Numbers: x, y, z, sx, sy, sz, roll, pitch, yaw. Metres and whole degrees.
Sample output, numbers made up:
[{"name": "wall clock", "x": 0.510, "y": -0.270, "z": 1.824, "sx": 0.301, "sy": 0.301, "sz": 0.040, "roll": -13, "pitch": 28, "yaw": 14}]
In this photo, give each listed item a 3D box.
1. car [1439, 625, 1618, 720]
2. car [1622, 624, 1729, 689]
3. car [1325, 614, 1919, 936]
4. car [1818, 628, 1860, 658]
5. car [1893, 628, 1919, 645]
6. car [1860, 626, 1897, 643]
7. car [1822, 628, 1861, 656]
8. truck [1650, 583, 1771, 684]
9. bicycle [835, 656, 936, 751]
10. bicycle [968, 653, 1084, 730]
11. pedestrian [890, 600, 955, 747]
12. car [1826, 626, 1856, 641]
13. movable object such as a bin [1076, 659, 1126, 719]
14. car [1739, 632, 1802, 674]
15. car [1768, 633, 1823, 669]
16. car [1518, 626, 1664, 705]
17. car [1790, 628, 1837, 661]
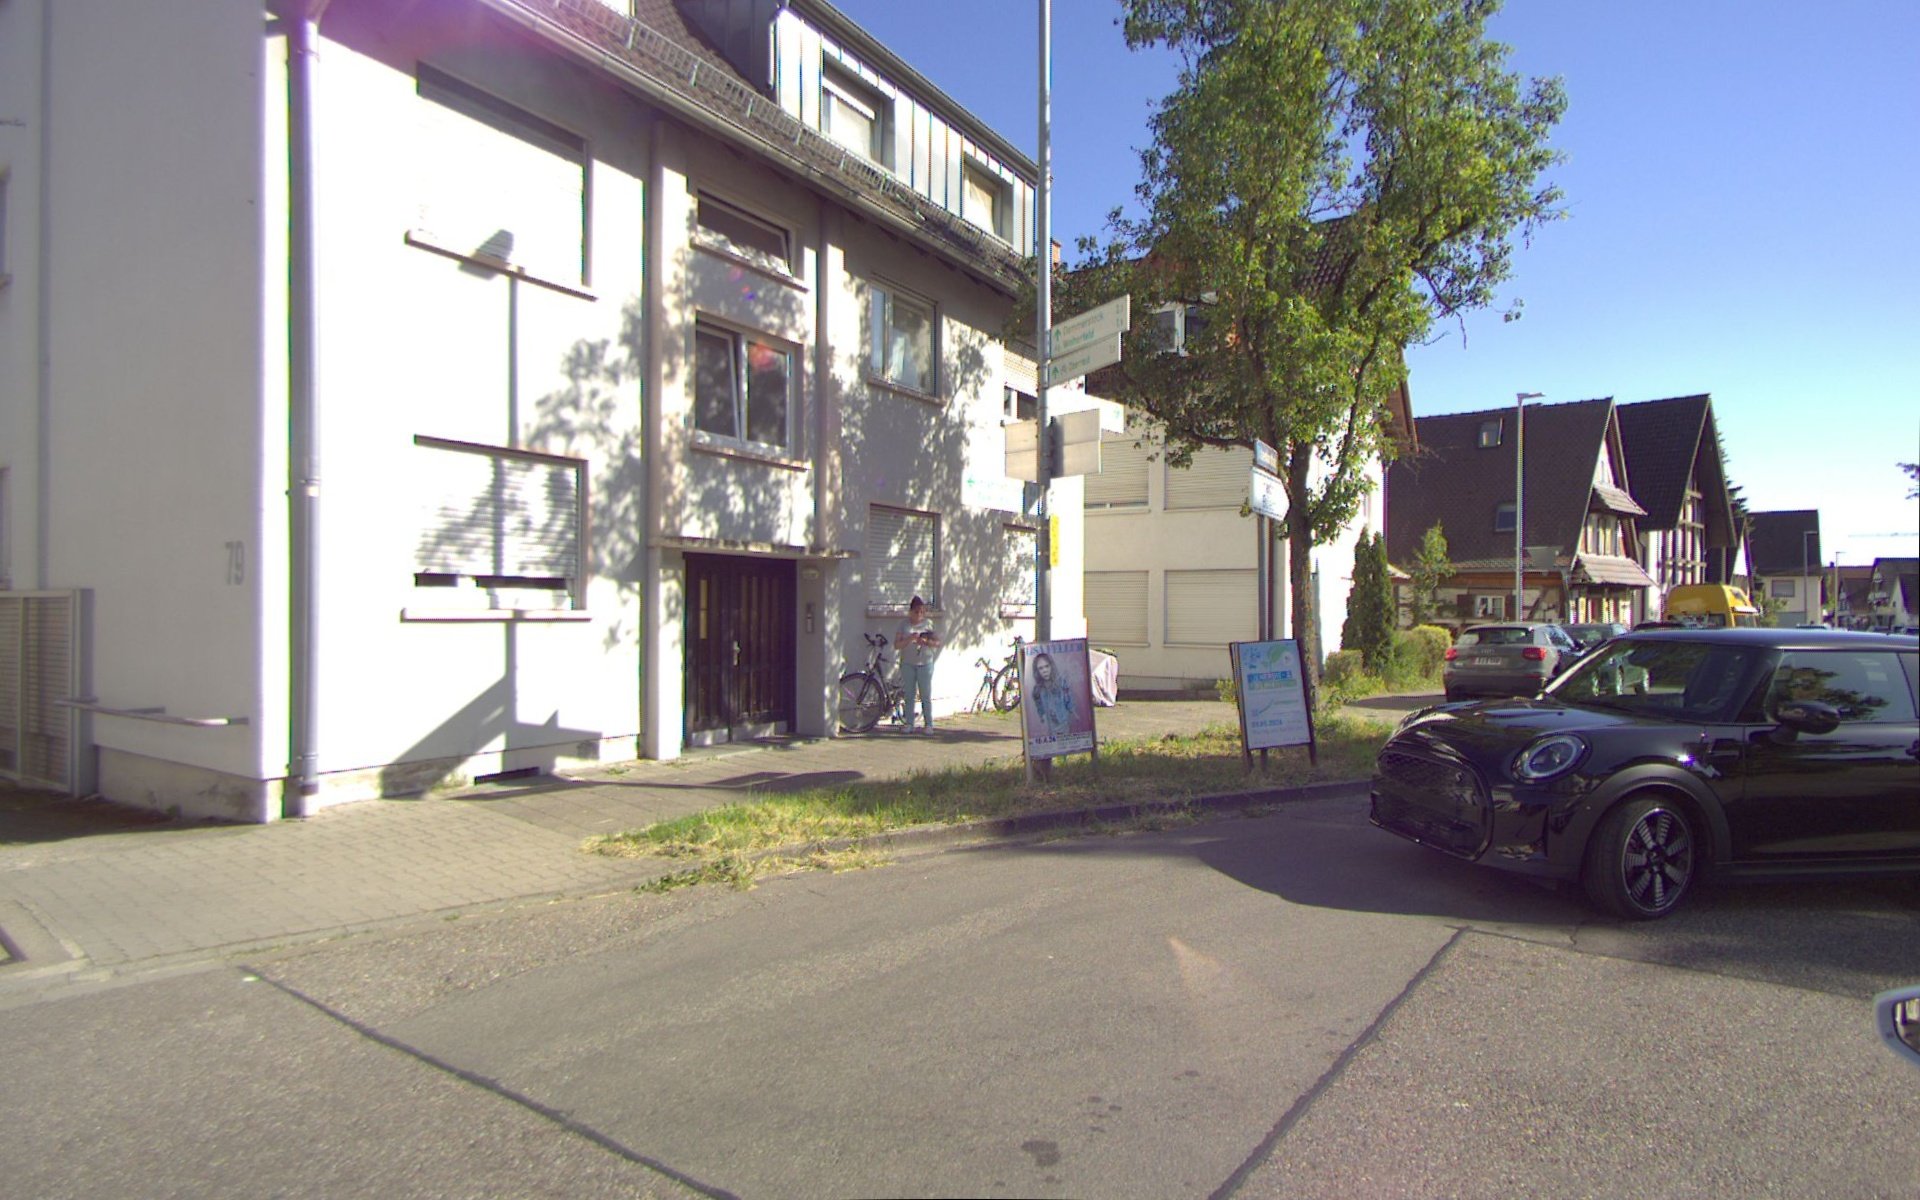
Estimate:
[{"name": "car", "x": 10.510, "y": 1.253, "z": 18.444, "sx": 4.081, "sy": 1.525, "sz": 1.849, "roll": 2, "pitch": -2, "yaw": -45}, {"name": "car", "x": 19.859, "y": 1.522, "z": 27.818, "sx": 3.855, "sy": 1.643, "sz": 1.788, "roll": 2, "pitch": -2, "yaw": -45}, {"name": "car", "x": 4.377, "y": 0.860, "z": 5.824, "sx": 3.926, "sy": 1.497, "sz": 1.663, "roll": 1, "pitch": 0, "yaw": -8}, {"name": "car", "x": 45.321, "y": 2.214, "z": 51.750, "sx": 1.571, "sy": 1.462, "sz": 3.595, "roll": 0, "pitch": -1, "yaw": 42}, {"name": "car", "x": 88.262, "y": 3.369, "z": 92.979, "sx": 1.945, "sy": 1.604, "sz": 3.986, "roll": 0, "pitch": -1, "yaw": 31}, {"name": "car", "x": 93.284, "y": 3.478, "z": 102.058, "sx": 1.945, "sy": 1.604, "sz": 3.986, "roll": 0, "pitch": -1, "yaw": 31}, {"name": "car", "x": 48.426, "y": 2.303, "z": 55.177, "sx": 1.571, "sy": 1.462, "sz": 3.595, "roll": 0, "pitch": -1, "yaw": 42}, {"name": "truck", "x": 23.771, "y": 1.061, "z": 31.708, "sx": 5.745, "sy": 2.906, "sz": 2.245, "roll": 2, "pitch": -2, "yaw": -45}, {"name": "bicycle", "x": -0.882, "y": 1.222, "z": 12.186, "sx": 0.418, "sy": 1.066, "sz": 1.376, "roll": -1, "pitch": -3, "yaw": 37}, {"name": "bicycle", "x": 1.017, "y": 1.327, "z": 15.016, "sx": 0.572, "sy": 1.066, "sz": 2.024, "roll": -1, "pitch": -3, "yaw": 43}, {"name": "pedestrian", "x": -0.446, "y": 0.870, "z": 12.059, "sx": 0.478, "sy": 1.715, "sz": 0.554, "roll": 0, "pitch": -2, "yaw": 41}, {"name": "car", "x": 101.420, "y": 3.828, "z": 115.702, "sx": 1.945, "sy": 1.604, "sz": 3.986, "roll": 0, "pitch": -1, "yaw": 31}, {"name": "movable object such as a bin", "x": 2.402, "y": 1.503, "z": 17.119, "sx": 0.617, "sy": 0.957, "sz": 0.659, "roll": 0, "pitch": -2, "yaw": 32}, {"name": "car", "x": 30.460, "y": 1.939, "z": 37.724, "sx": 1.627, "sy": 1.451, "sz": 3.595, "roll": 0, "pitch": -1, "yaw": 42}, {"name": "car", "x": 33.926, "y": 2.054, "z": 40.770, "sx": 1.571, "sy": 1.354, "sz": 3.595, "roll": 0, "pitch": -1, "yaw": 42}, {"name": "car", "x": 13.587, "y": 1.345, "z": 21.538, "sx": 4.081, "sy": 1.525, "sz": 1.788, "roll": 2, "pitch": -2, "yaw": -45}, {"name": "car", "x": 39.896, "y": 2.066, "z": 46.944, "sx": 1.571, "sy": 1.462, "sz": 3.595, "roll": 0, "pitch": -1, "yaw": 42}]
